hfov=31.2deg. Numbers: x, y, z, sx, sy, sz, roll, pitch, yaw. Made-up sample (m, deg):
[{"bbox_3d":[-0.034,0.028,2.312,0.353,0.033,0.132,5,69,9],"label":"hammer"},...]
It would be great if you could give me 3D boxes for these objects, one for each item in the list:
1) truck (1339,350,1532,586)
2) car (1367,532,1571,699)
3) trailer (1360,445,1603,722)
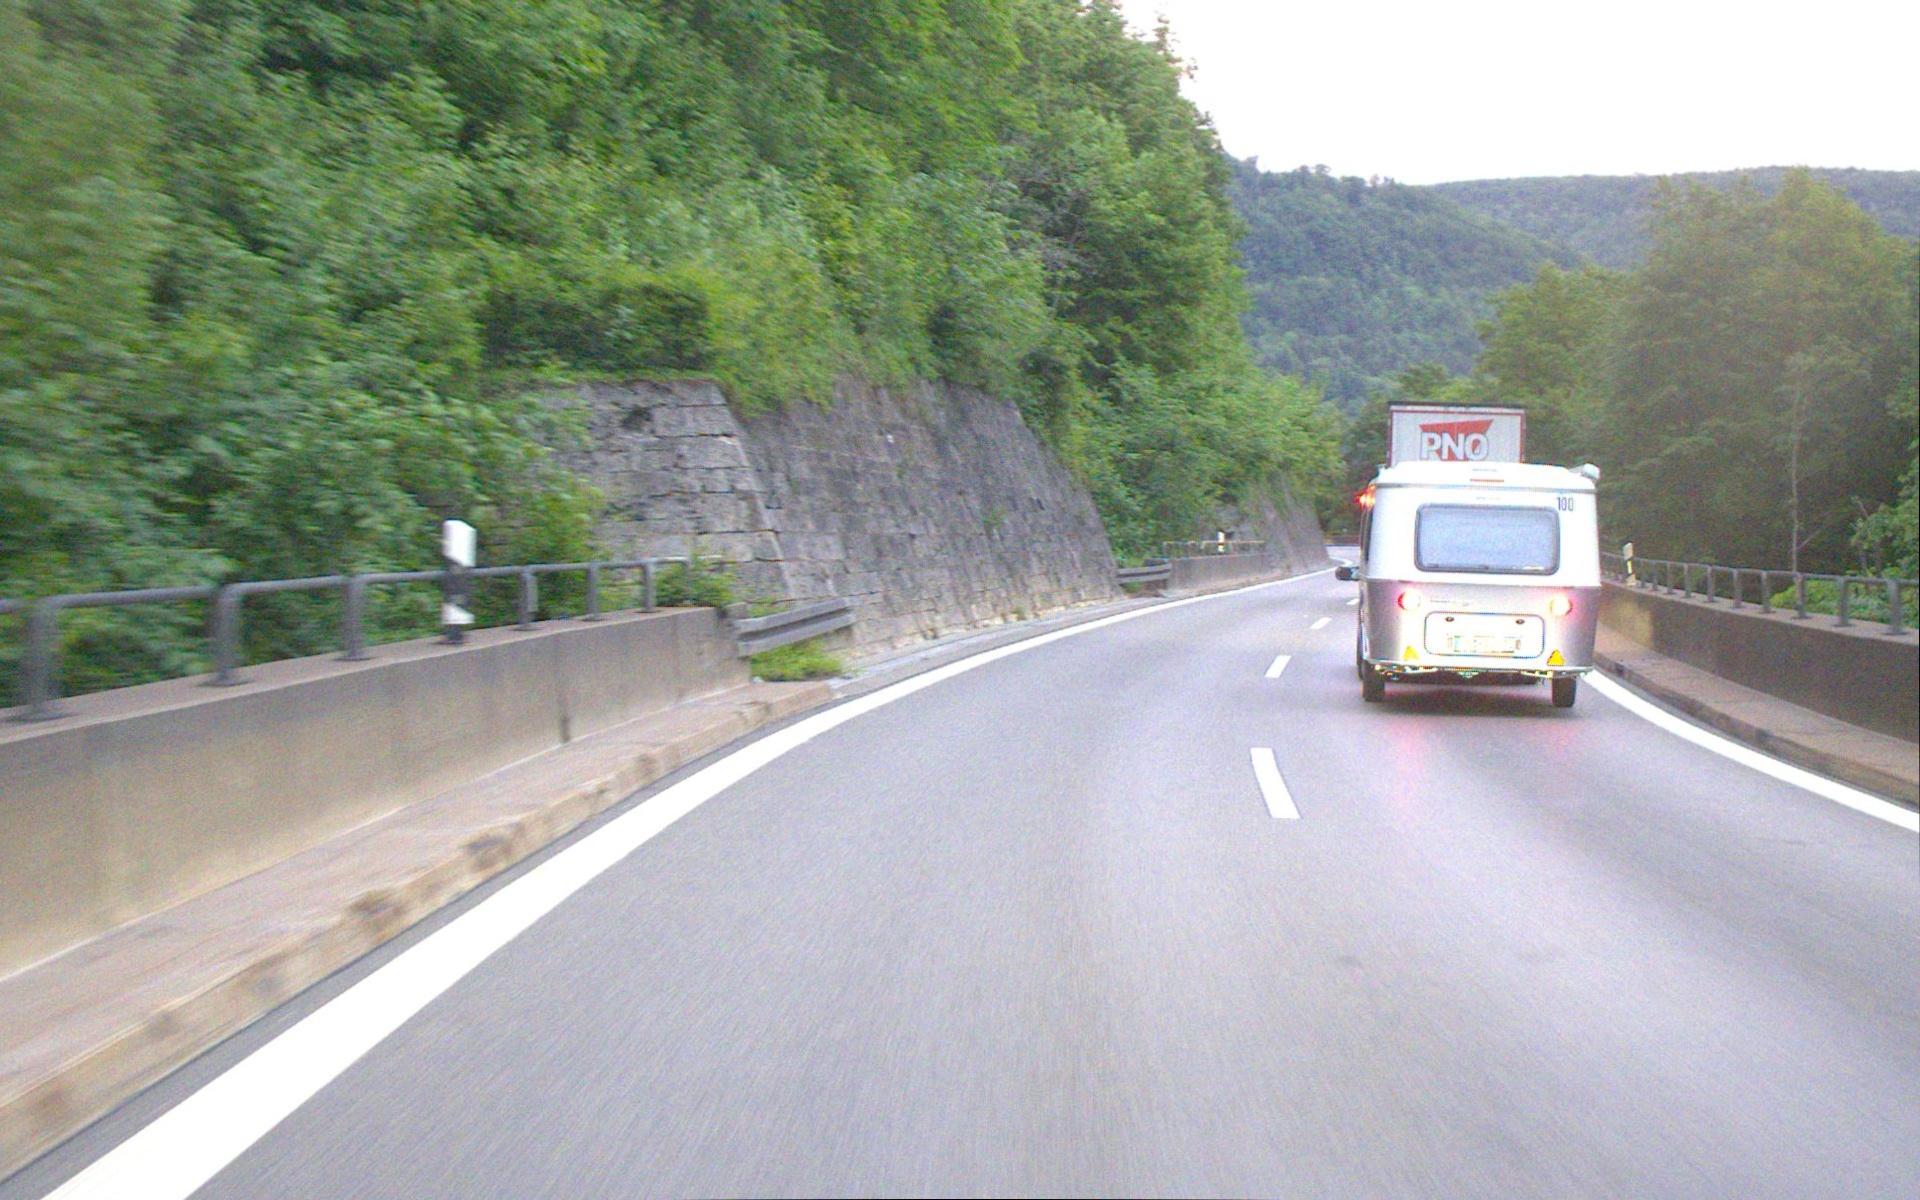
[{"bbox_3d":[9.958,-2.564,71.962,3.296,4.158,16.498,-4,0,8],"label":"truck"},{"bbox_3d":[5.580,0.122,37.796,1.994,1.609,4.863,3,1,8],"label":"car"},{"bbox_3d":[4.948,-0.207,32.799,2.055,2.367,5.936,1,1,8],"label":"trailer"}]
